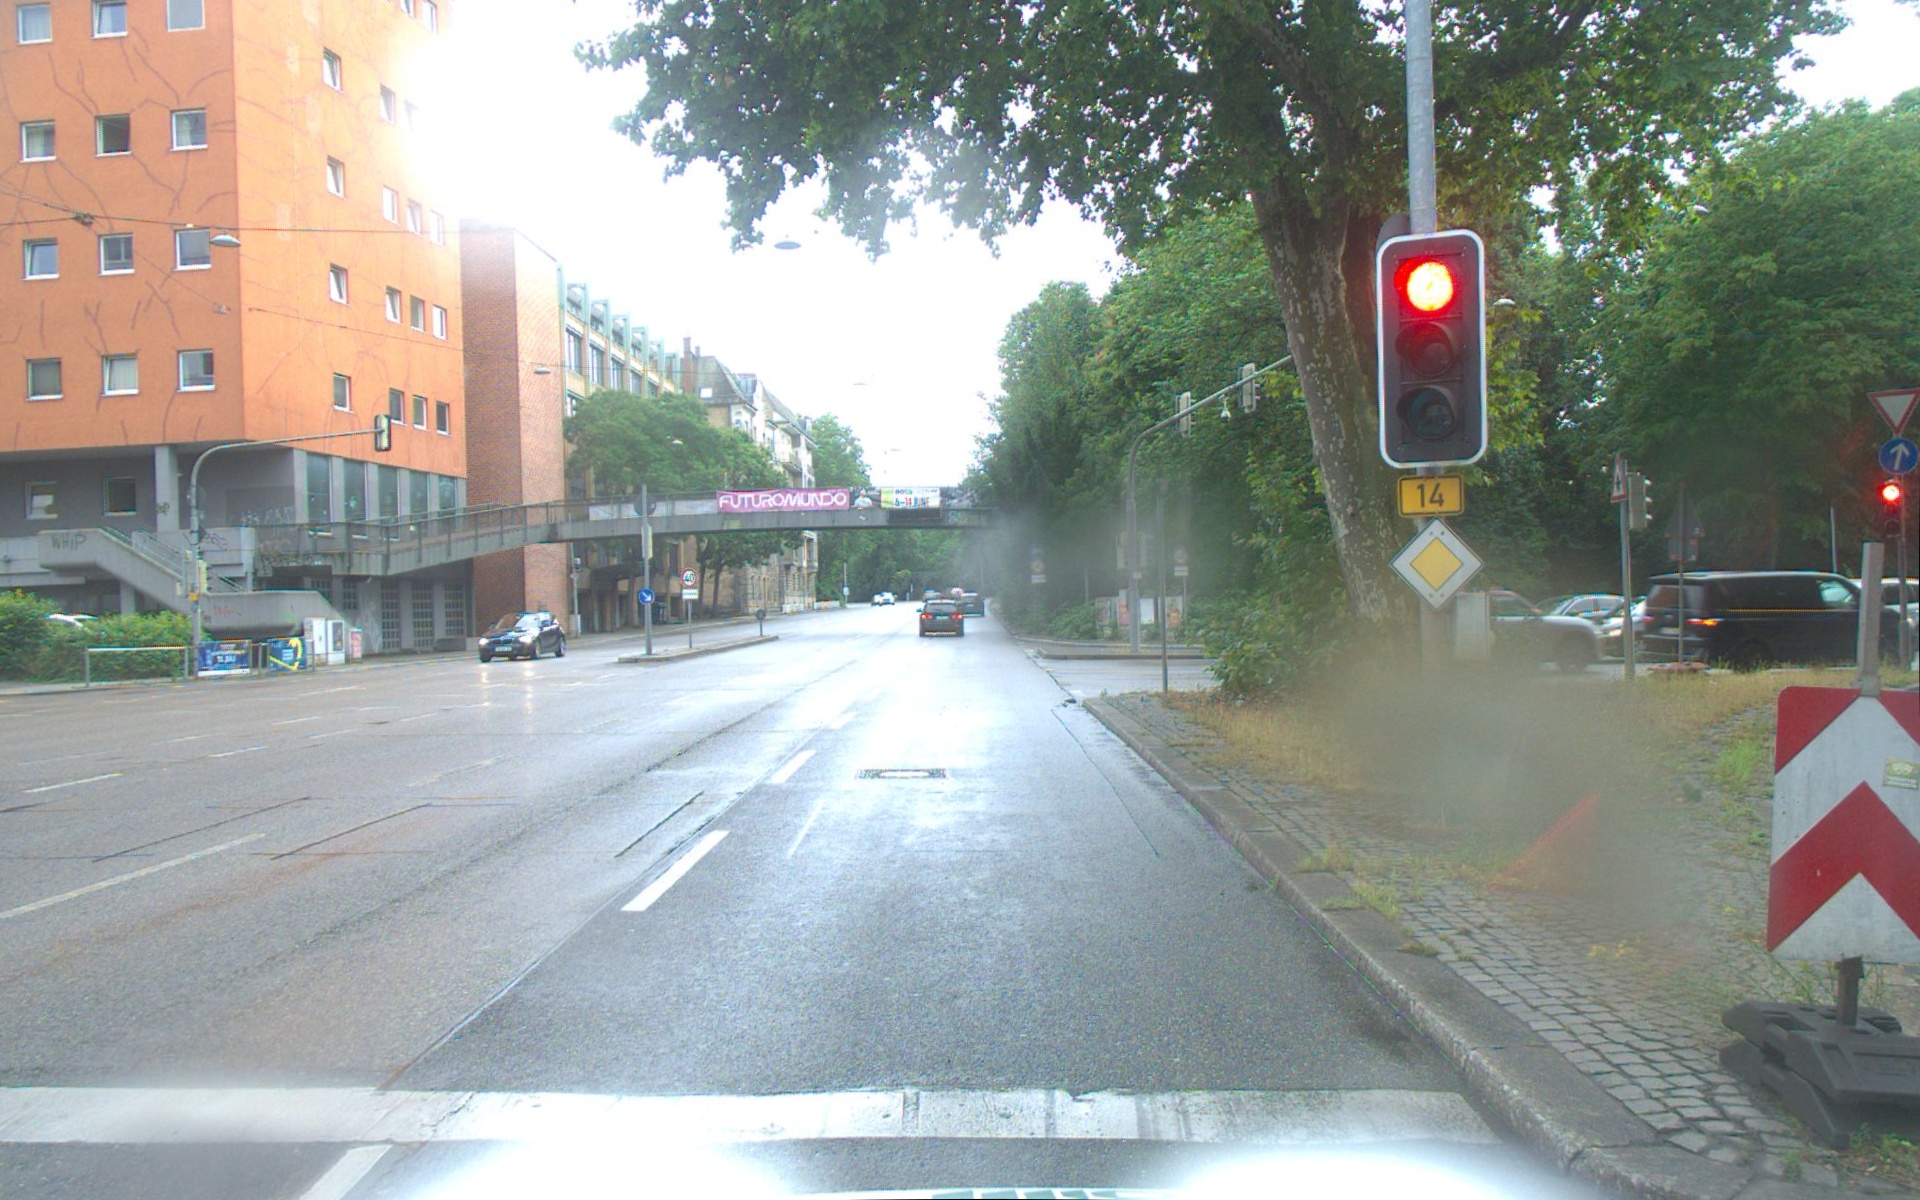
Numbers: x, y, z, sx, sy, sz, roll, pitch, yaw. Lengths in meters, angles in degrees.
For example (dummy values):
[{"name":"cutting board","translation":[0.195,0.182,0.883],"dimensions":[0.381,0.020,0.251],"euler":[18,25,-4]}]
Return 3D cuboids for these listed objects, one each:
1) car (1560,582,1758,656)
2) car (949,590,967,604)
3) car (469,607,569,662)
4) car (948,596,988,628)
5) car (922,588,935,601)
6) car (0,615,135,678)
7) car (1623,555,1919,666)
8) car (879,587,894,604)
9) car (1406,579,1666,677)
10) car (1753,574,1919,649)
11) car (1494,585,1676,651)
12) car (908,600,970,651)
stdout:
[{"name":"car","translation":[15.362,0.415,36.393],"dimensions":[3.791,1.511,1.665],"euler":[-1,-1,-16]},{"name":"car","translation":[-0.304,-0.437,214.804],"dimensions":[2.078,1.765,4.196],"euler":[0,1,-3]},{"name":"car","translation":[-13.427,1.031,50.563],"dimensions":[1.953,1.545,3.999],"euler":[-2,0,0]},{"name":"car","translation":[0.500,0.780,106.168],"dimensions":[2.088,1.868,4.348],"euler":[-3,0,-5]},{"name":"car","translation":[-4.318,-0.730,228.966],"dimensions":[1.728,1.726,3.704],"euler":[-3,0,-1]},{"name":"car","translation":[-26.920,1.404,49.054],"dimensions":[3.929,1.646,1.896],"euler":[-3,0,8]},{"name":"car","translation":[14.748,0.167,29.919],"dimensions":[4.996,1.878,1.990],"euler":[-1,0,-18]},{"name":"car","translation":[-9.271,-0.520,208.143],"dimensions":[1.728,1.959,3.704],"euler":[-3,0,-1]},{"name":"car","translation":[11.250,0.528,32.453],"dimensions":[4.428,1.666,1.877],"euler":[-2,0,-9]},{"name":"car","translation":[20.692,0.249,38.405],"dimensions":[4.203,1.512,1.761],"euler":[-3,0,-23]},{"name":"car","translation":[15.310,0.432,40.556],"dimensions":[3.929,1.512,1.867],"euler":[-1,-1,-21]},{"name":"car","translation":[-0.888,1.027,66.974],"dimensions":[2.088,1.868,4.348],"euler":[-3,0,-5]}]
